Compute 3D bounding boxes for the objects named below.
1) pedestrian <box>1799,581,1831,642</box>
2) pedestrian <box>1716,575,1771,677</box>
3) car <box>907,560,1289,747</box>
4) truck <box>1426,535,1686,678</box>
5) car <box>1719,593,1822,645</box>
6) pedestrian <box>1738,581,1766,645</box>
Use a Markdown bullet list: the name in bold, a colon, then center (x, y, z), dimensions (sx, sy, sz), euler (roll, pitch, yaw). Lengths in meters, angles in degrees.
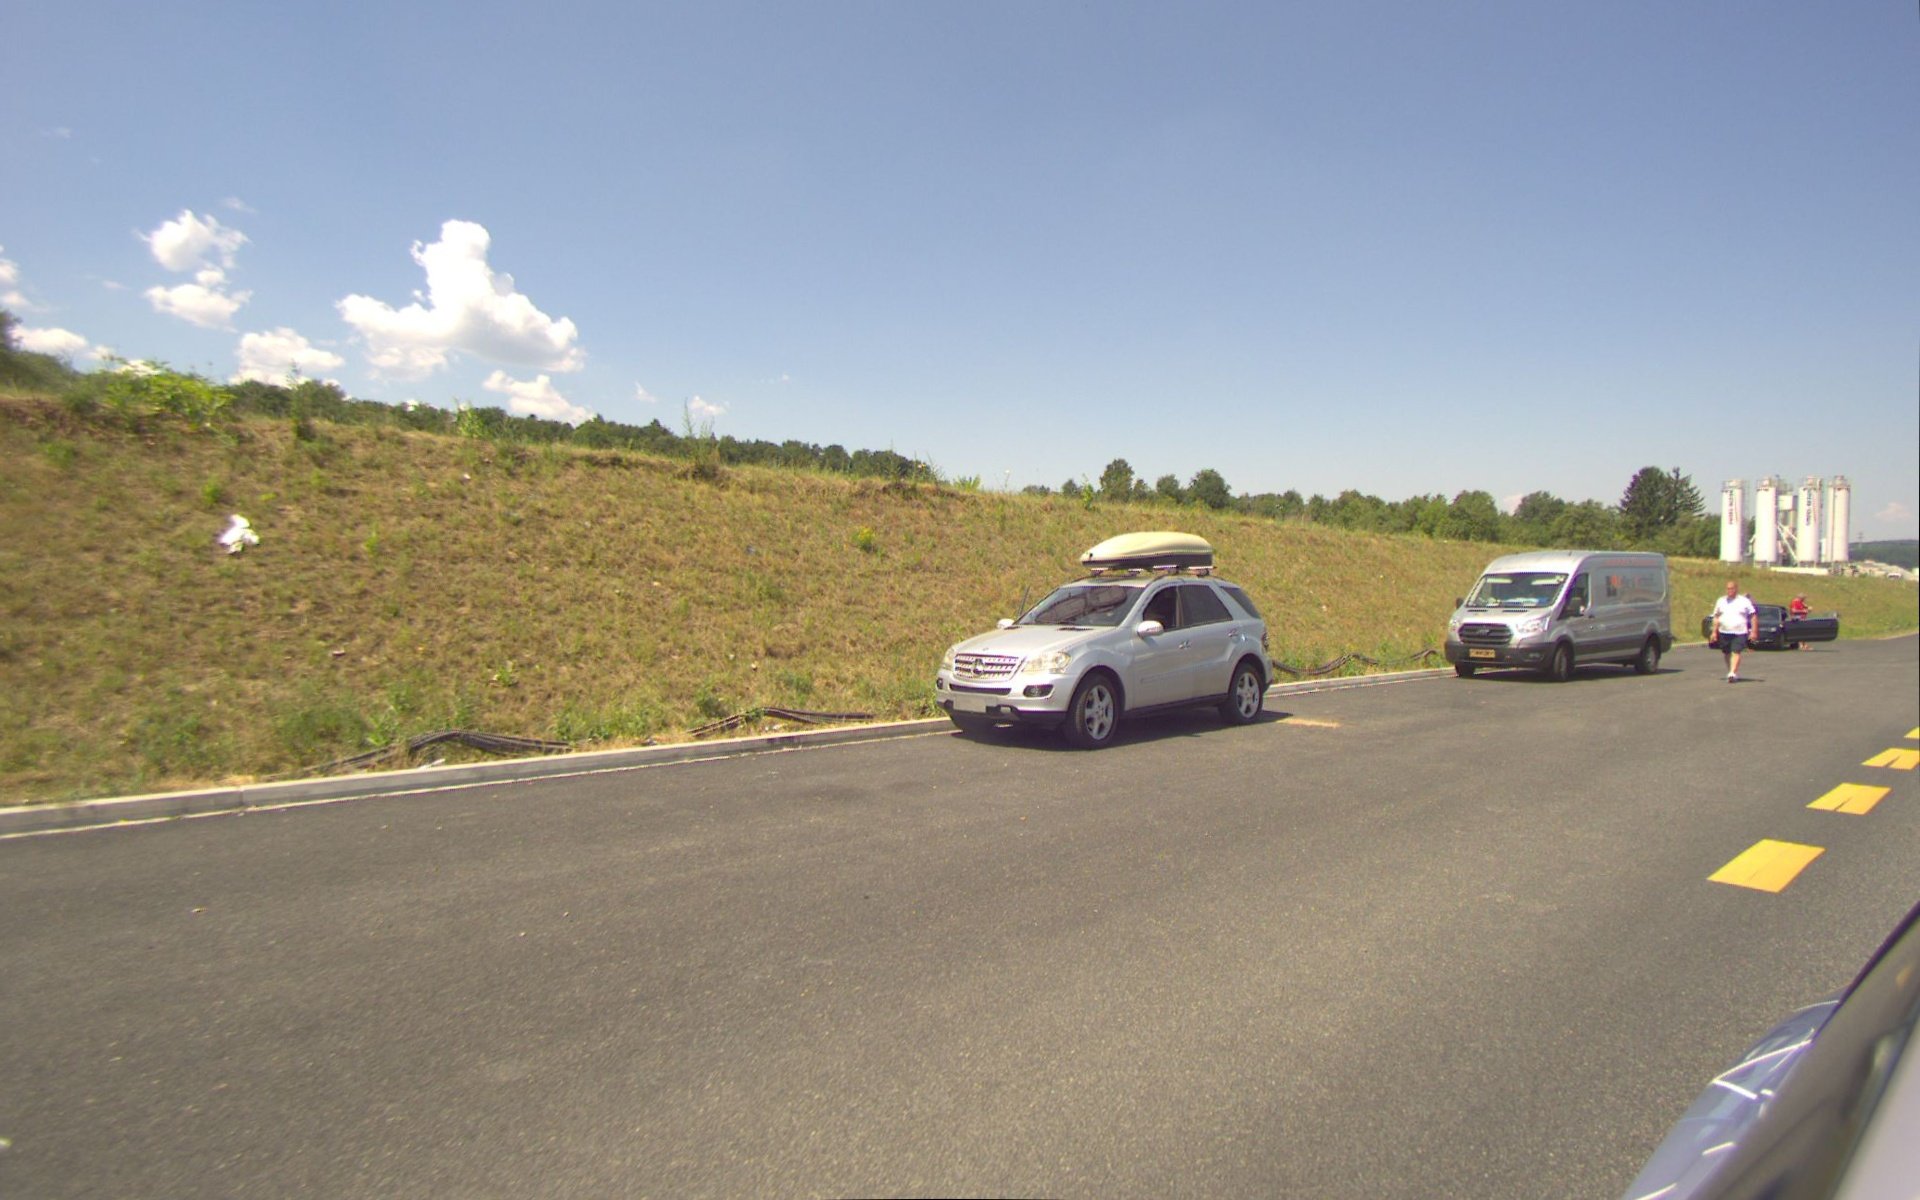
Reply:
- **pedestrian**: center (26.488, 0.350, 31.349), dimensions (0.636, 1.851, 0.553), euler (-1, -1, 29)
- **pedestrian**: center (14.510, 0.466, 18.751), dimensions (0.720, 1.851, 0.711), euler (-1, 0, 33)
- **car**: center (1.757, 0.511, 11.497), dimensions (4.775, 1.699, 1.775), euler (1, -1, -45)
- **truck**: center (11.941, 0.105, 20.118), dimensions (5.811, 2.488, 2.137), euler (0, 0, -34)
- **car**: center (25.308, 0.534, 31.531), dimensions (4.465, 1.444, 1.658), euler (0, 3, -41)
- **pedestrian**: center (23.383, 0.381, 29.876), dimensions (0.623, 1.851, 0.634), euler (-1, -1, 38)
